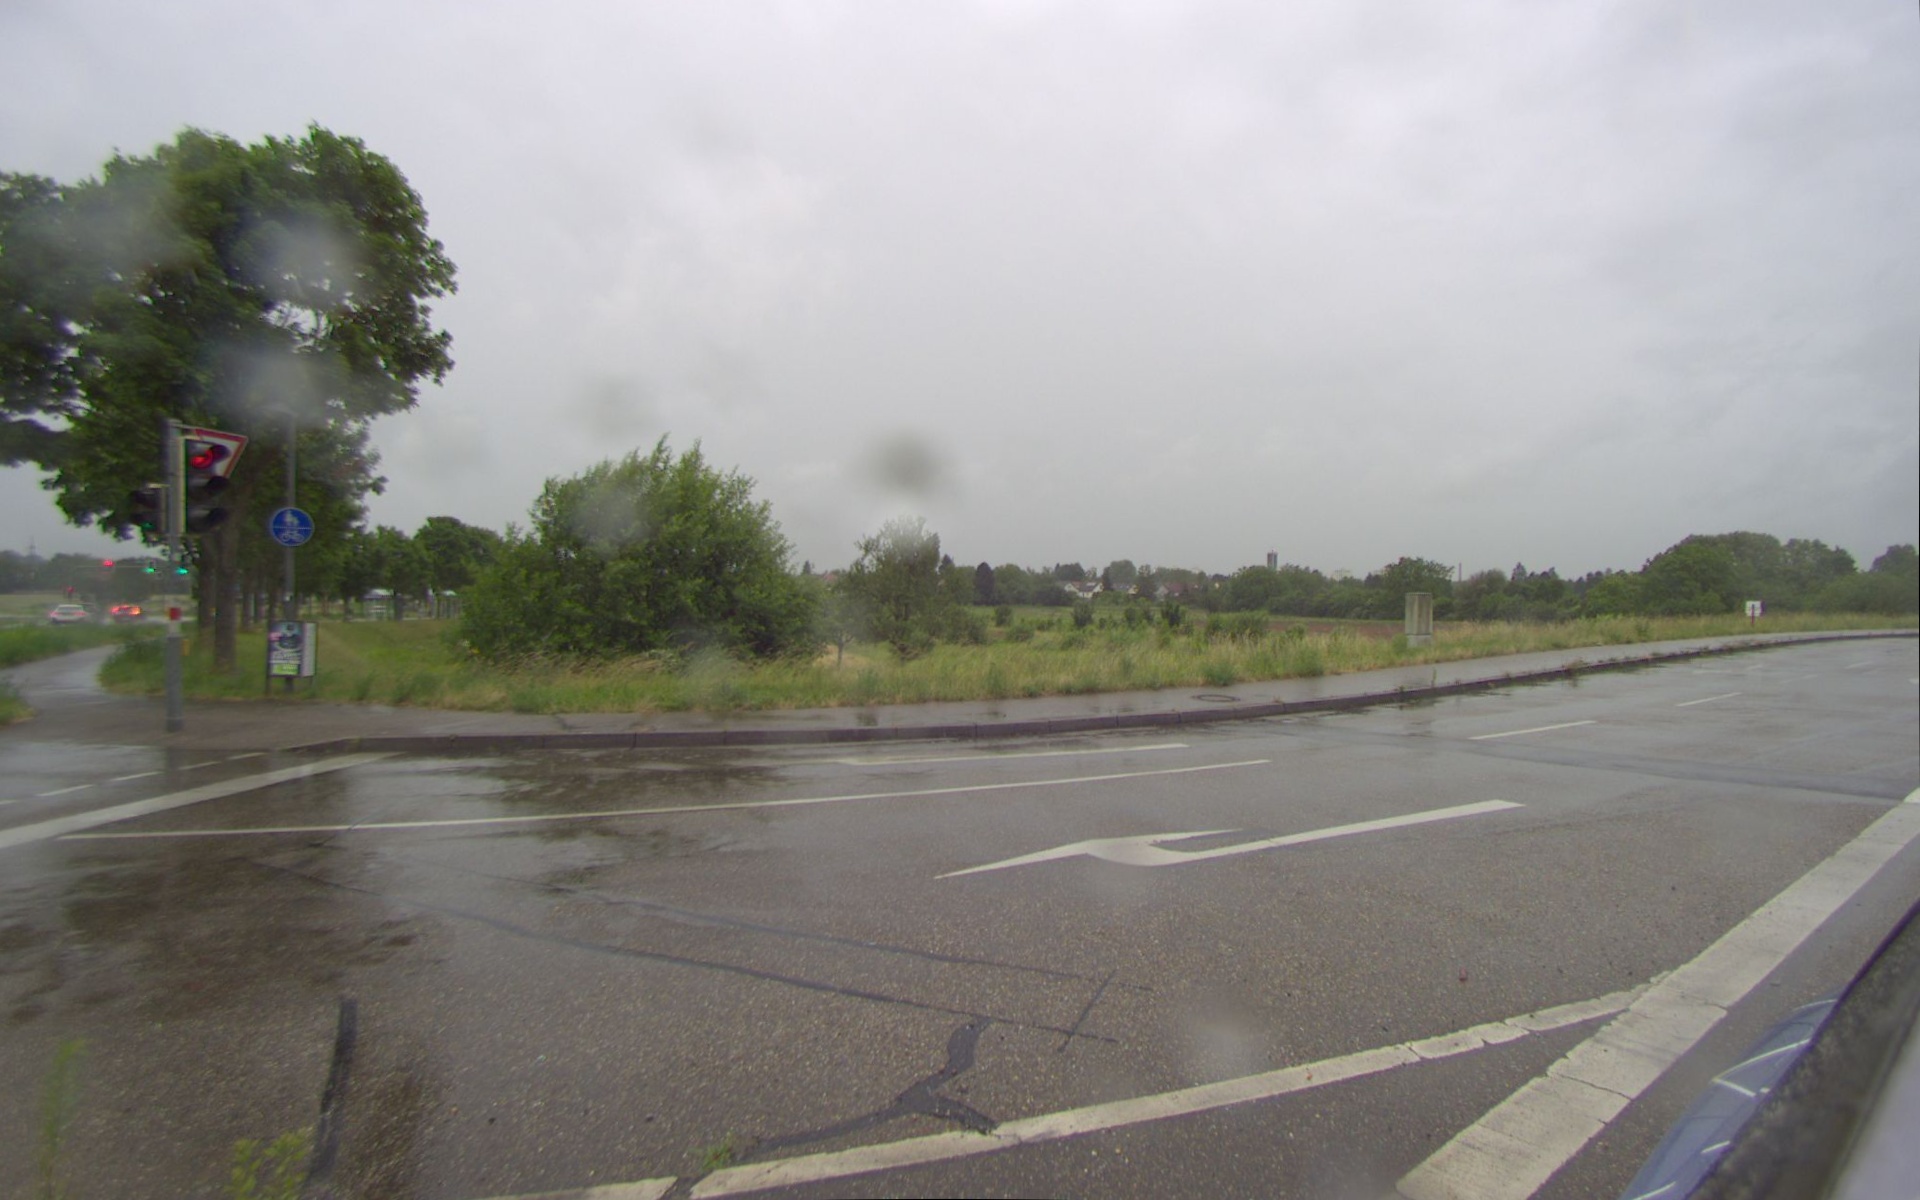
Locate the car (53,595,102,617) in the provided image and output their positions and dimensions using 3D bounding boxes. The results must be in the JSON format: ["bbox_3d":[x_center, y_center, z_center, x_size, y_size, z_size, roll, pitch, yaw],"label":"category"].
[{"bbox_3d":[-59.035,0.379,67.744,1.843,1.371,4.055,0,1,-32],"label":"car"}]

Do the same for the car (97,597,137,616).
[{"bbox_3d":[-65.750,0.480,79.012,1.843,1.371,4.055,0,1,-32],"label":"car"}]
